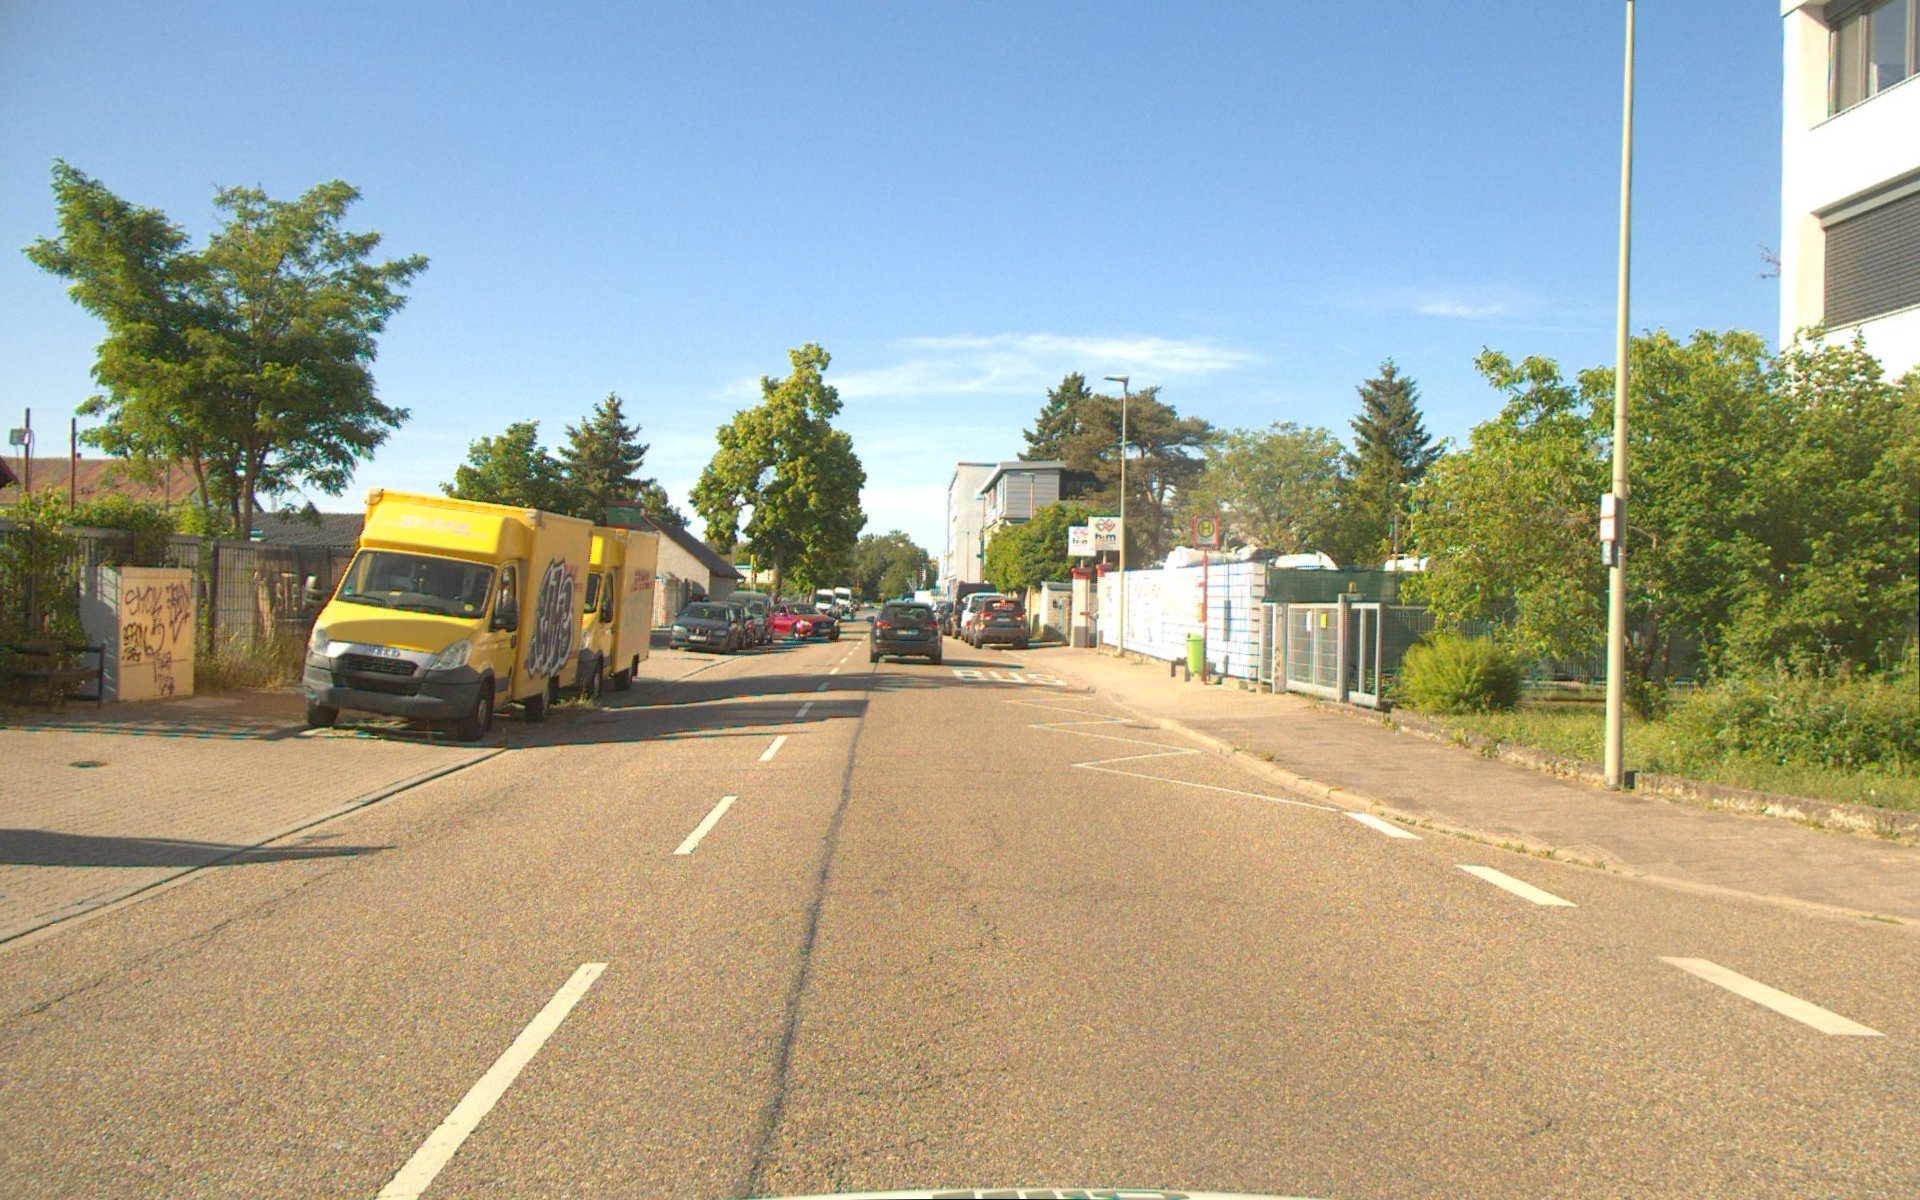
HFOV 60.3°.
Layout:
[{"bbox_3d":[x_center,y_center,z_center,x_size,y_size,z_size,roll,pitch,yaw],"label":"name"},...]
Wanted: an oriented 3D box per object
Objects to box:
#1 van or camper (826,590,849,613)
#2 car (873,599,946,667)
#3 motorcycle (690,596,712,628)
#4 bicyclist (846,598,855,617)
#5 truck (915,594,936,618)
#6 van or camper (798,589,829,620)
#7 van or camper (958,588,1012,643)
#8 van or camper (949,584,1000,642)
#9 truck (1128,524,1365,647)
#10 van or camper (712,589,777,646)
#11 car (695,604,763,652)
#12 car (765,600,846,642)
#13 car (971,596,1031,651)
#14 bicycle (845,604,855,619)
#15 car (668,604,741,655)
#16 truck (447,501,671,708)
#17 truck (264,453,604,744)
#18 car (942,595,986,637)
[{"bbox_3d":[-13.457,0.202,181.015,2.278,2.403,6.520,1,0,-6],"label":"van or camper"},{"bbox_3d":[-1.205,0.765,40.446,1.677,1.559,3.686,1,0,-1],"label":"car"},{"bbox_3d":[-12.055,0.564,77.085,0.761,1.470,2.037,1,0,-2],"label":"motorcycle"},{"bbox_3d":[-8.971,0.588,135.263,0.681,1.566,0.634,1,0,-4],"label":"bicyclist"},{"bbox_3d":[-3.441,0.607,164.554,1.953,2.328,6.952,1,0,-2],"label":"truck"},{"bbox_3d":[-11.709,0.352,131.700,2.278,2.403,6.520,1,0,-6],"label":"van or camper"},{"bbox_3d":[0.968,0.610,65.302,1.880,2.055,4.078,1,0,-2],"label":"van or camper"},{"bbox_3d":[0.591,0.545,70.351,1.953,2.351,3.998,1,0,-2],"label":"van or camper"},{"bbox_3d":[9.489,-0.459,55.142,7.232,3.837,2.829,1,0,-7],"label":"truck"},{"bbox_3d":[-7.734,0.630,59.714,1.852,1.959,4.265,0,-1,-1],"label":"van or camper"},{"bbox_3d":[-7.642,0.903,55.129,1.659,1.494,4.173,1,0,0],"label":"car"},{"bbox_3d":[-6.051,0.780,64.366,1.853,1.511,4.011,0,1,-26],"label":"car"},{"bbox_3d":[1.424,0.812,58.972,1.880,1.857,4.078,1,0,-2],"label":"car"},{"bbox_3d":[-8.979,0.968,135.394,0.812,1.173,2.938,1,0,-4],"label":"bicycle"},{"bbox_3d":[-7.612,0.852,49.624,1.722,1.428,4.554,1,0,-4],"label":"car"},{"bbox_3d":[-6.515,0.060,27.785,2.148,2.952,6.437,3,0,-1],"label":"truck"},{"bbox_3d":[-6.390,-0.006,21.152,2.354,3.035,6.371,3,0,-2],"label":"truck"},{"bbox_3d":[0.175,0.731,78.071,1.880,1.857,4.078,1,0,-2],"label":"car"}]
